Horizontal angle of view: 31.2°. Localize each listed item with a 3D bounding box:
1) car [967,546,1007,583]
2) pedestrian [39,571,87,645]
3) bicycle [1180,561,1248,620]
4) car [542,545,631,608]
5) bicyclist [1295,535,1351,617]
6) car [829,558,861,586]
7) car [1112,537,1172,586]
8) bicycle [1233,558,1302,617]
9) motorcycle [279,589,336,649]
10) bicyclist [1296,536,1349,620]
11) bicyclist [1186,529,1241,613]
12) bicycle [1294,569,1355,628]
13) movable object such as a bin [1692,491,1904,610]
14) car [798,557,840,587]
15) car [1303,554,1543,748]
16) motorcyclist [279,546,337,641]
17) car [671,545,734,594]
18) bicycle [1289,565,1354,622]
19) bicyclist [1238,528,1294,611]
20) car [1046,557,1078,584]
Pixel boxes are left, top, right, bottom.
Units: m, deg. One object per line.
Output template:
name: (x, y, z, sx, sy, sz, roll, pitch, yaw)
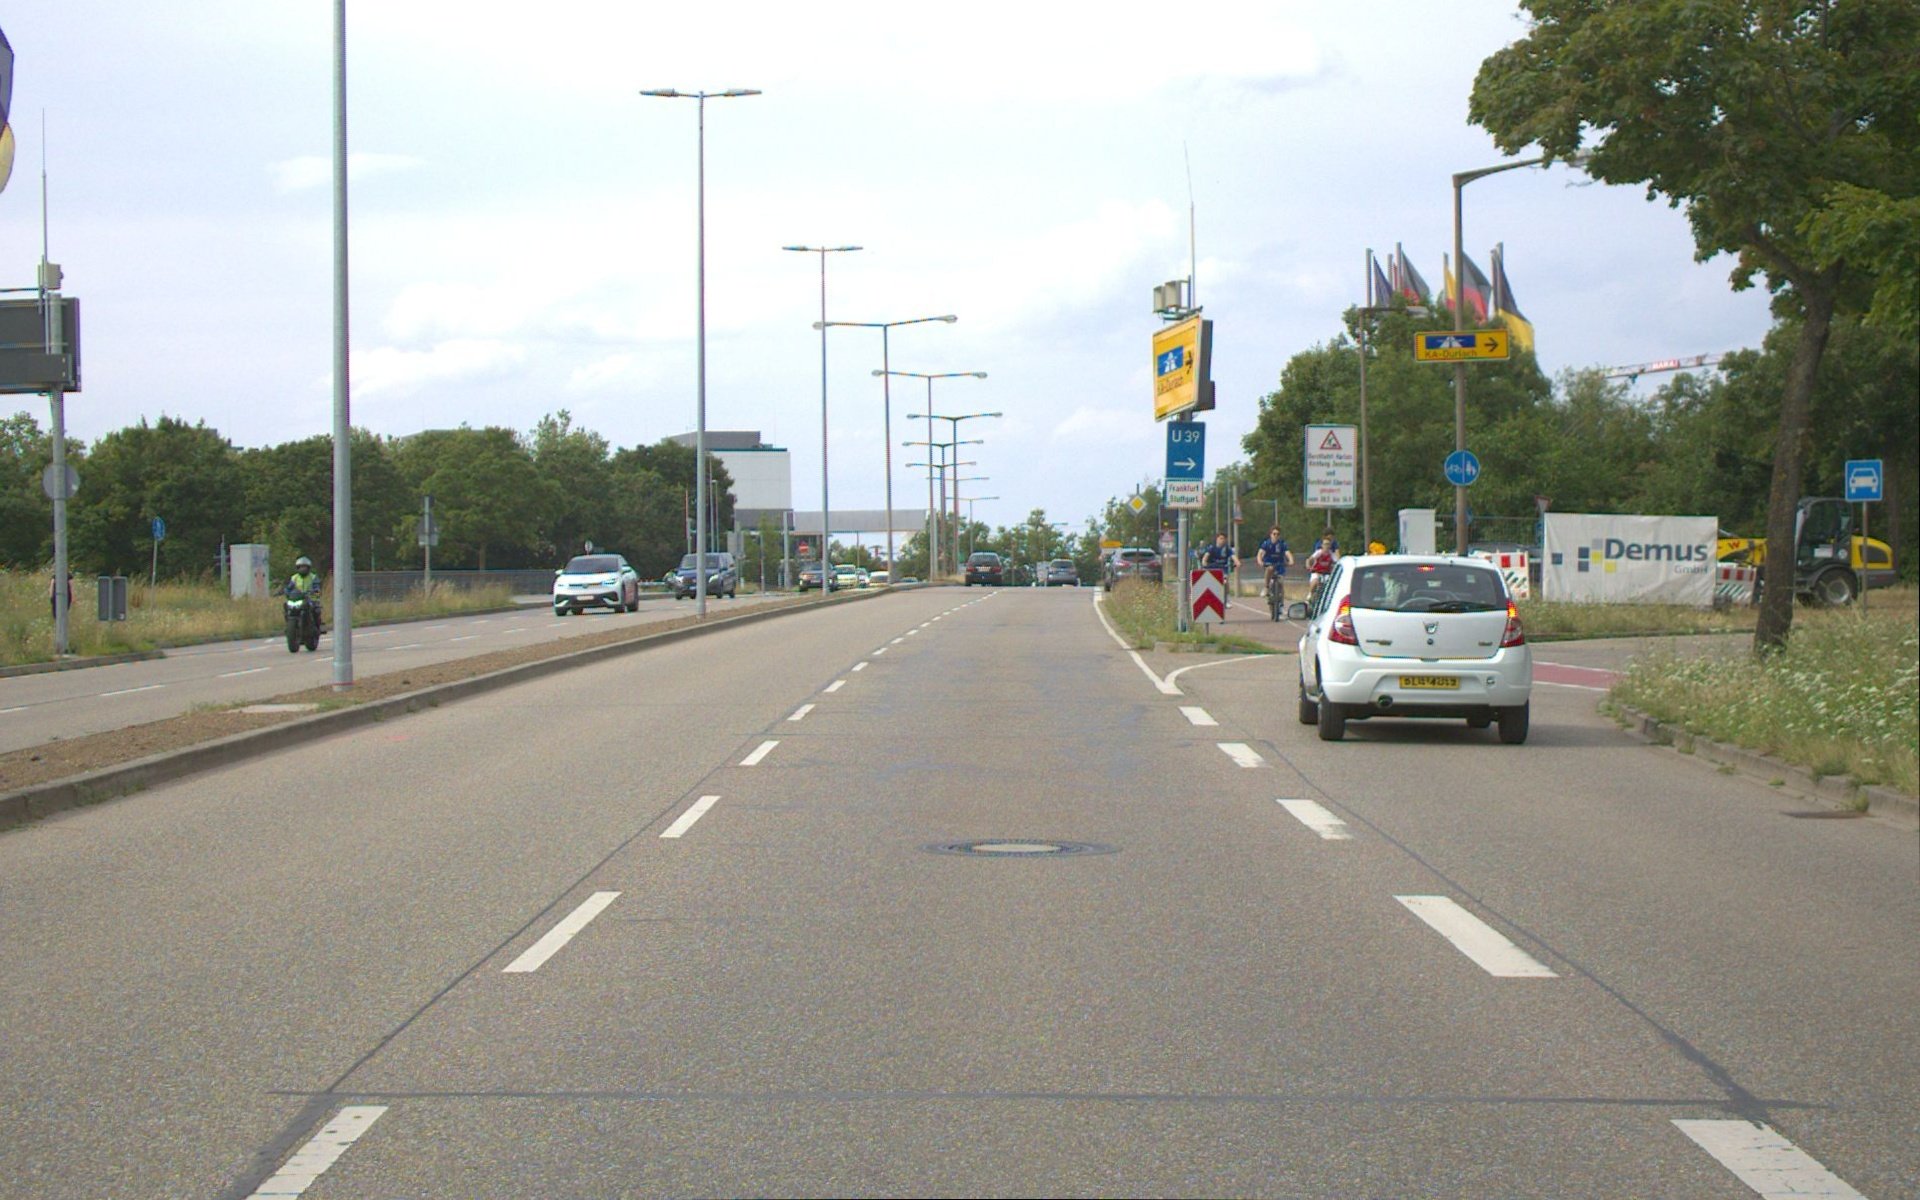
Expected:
car: (1.283, -1.682, 163.223, 1.731, 1.647, 4.114, 0, -1, 3)
pedestrian: (-20.876, 0.190, 80.008, 0.865, 1.687, 0.679, -2, 1, 0)
bicycle: (4.618, -0.180, 62.649, 0.620, 1.002, 2.103, 2, 1, -12)
car: (-10.218, -0.658, 94.366, 1.847, 1.595, 4.561, -1, 2, 1)
bicyclist: (6.671, -0.435, 63.261, 0.741, 1.482, 0.958, 1, 0, -13)
car: (-6.626, -1.622, 198.365, 1.549, 1.572, 3.690, -2, 1, 2)
car: (6.520, -1.362, 123.630, 1.730, 1.647, 4.115, 0, -1, -3)
bicycle: (5.630, -0.238, 63.117, 0.595, 1.033, 2.196, 2, 0, -12)
motorcycle: (-11.126, 0.313, 58.680, 0.522, 0.963, 2.220, -1, 1, 0)
bicyclist: (6.356, -0.385, 60.311, 0.740, 1.469, 0.806, 1, 0, -7)
bicyclist: (4.620, -0.533, 62.694, 0.741, 1.513, 0.958, 1, 0, -13)
bicycle: (6.386, -0.030, 60.295, 0.620, 1.002, 1.788, -2, 0, -7)
movable object such as a bin: (19.333, -1.127, 79.498, 4.502, 2.680, 2.101, 1, 0, 7)
car: (-7.140, -1.430, 174.253, 1.763, 1.436, 4.177, -2, 1, 2)
car: (3.839, 0.379, 29.036, 1.847, 1.497, 3.999, -1, 1, 6)
motorcyclist: (-11.128, -0.110, 58.677, 0.770, 1.583, 0.896, -2, 1, 0)
car: (-10.594, -1.250, 141.734, 1.847, 1.887, 5.504, -3, 1, 3)
bicycle: (6.651, -0.115, 63.265, 0.620, 1.002, 1.788, -3, 0, -12)
bicyclist: (5.615, -0.561, 63.176, 0.741, 1.513, 0.958, 1, 0, -14)
car: (5.882, -1.701, 198.070, 1.730, 1.521, 4.115, 1, 0, 1)
